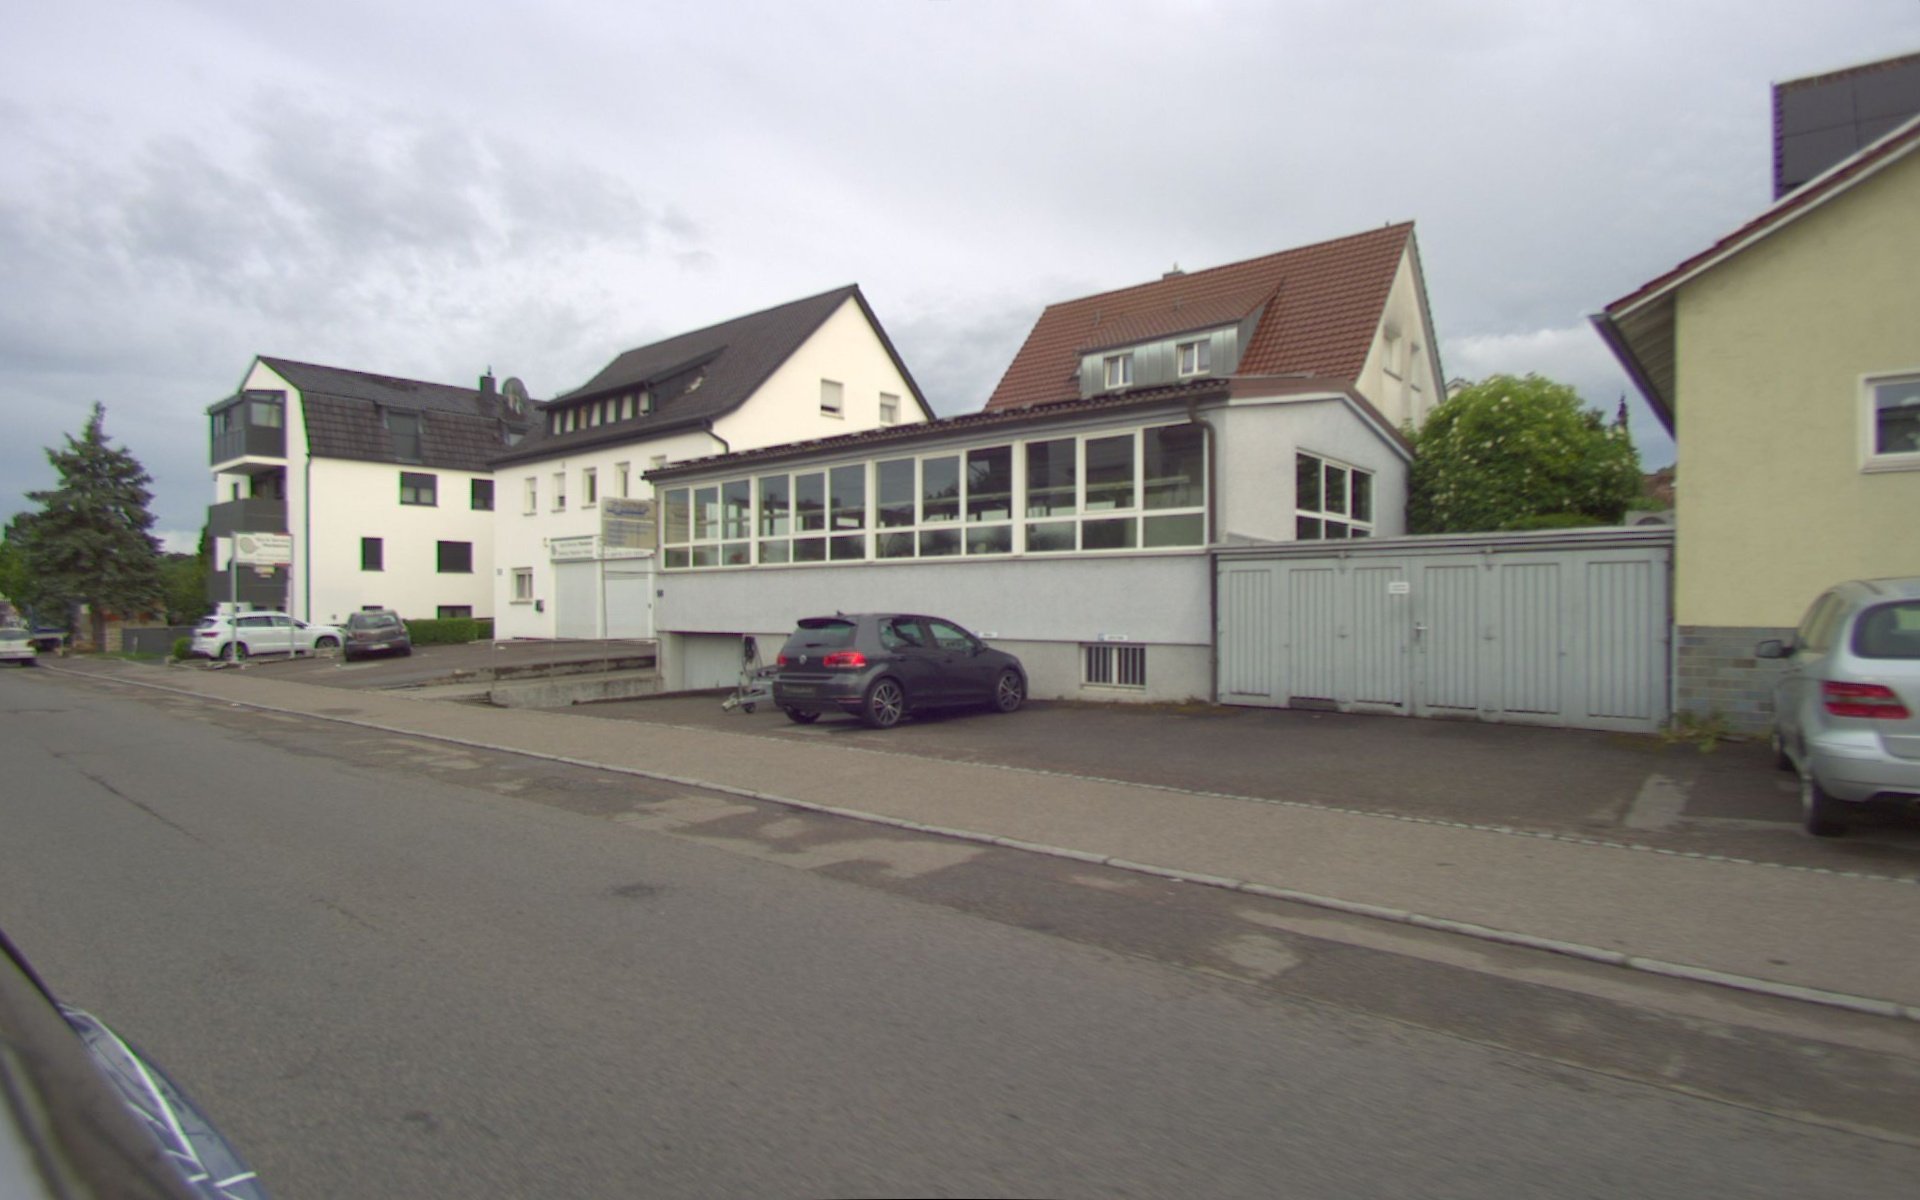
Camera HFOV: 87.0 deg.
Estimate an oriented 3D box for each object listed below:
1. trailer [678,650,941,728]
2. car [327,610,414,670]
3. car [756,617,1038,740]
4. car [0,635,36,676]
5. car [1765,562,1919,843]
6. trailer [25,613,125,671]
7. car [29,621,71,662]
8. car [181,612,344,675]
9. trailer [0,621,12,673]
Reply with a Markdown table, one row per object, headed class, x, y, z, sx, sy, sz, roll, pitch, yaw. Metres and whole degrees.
| class | x | y | z | sx | sy | sz | roll | pitch | yaw |
| --- | --- | --- | --- | --- | --- | --- | --- | --- | --- |
| trailer | -2.315 | 1.362 | 16.479 | 1.792 | 0.950 | 4.156 | -2 | -1 | 39 |
| car | -18.359 | 1.178 | 31.430 | 1.796 | 1.541 | 4.009 | -7 | 4 | -36 |
| car | -0.753 | 0.981 | 14.057 | 1.766 | 1.449 | 3.834 | -2 | -2 | 40 |
| car | -36.579 | 2.100 | 38.498 | 3.869 | 1.516 | 1.717 | -2 | -2 | 42 |
| car | 6.919 | 0.552 | 6.872 | 1.996 | 1.544 | 4.048 | -2 | -1 | 35 |
| trailer | -49.799 | 2.320 | 56.984 | 2.167 | 3.069 | 4.007 | -1 | 0 | 41 |
| car | -54.599 | 2.478 | 60.697 | 3.594 | 2.425 | 1.549 | -2 | -2 | 42 |
| car | -22.939 | 1.398 | 33.378 | 1.998 | 1.659 | 3.949 | -2 | 2 | 39 |
| trailer | -41.530 | 2.003 | 42.827 | 4.005 | 2.142 | 1.699 | -1 | 0 | 41 |
